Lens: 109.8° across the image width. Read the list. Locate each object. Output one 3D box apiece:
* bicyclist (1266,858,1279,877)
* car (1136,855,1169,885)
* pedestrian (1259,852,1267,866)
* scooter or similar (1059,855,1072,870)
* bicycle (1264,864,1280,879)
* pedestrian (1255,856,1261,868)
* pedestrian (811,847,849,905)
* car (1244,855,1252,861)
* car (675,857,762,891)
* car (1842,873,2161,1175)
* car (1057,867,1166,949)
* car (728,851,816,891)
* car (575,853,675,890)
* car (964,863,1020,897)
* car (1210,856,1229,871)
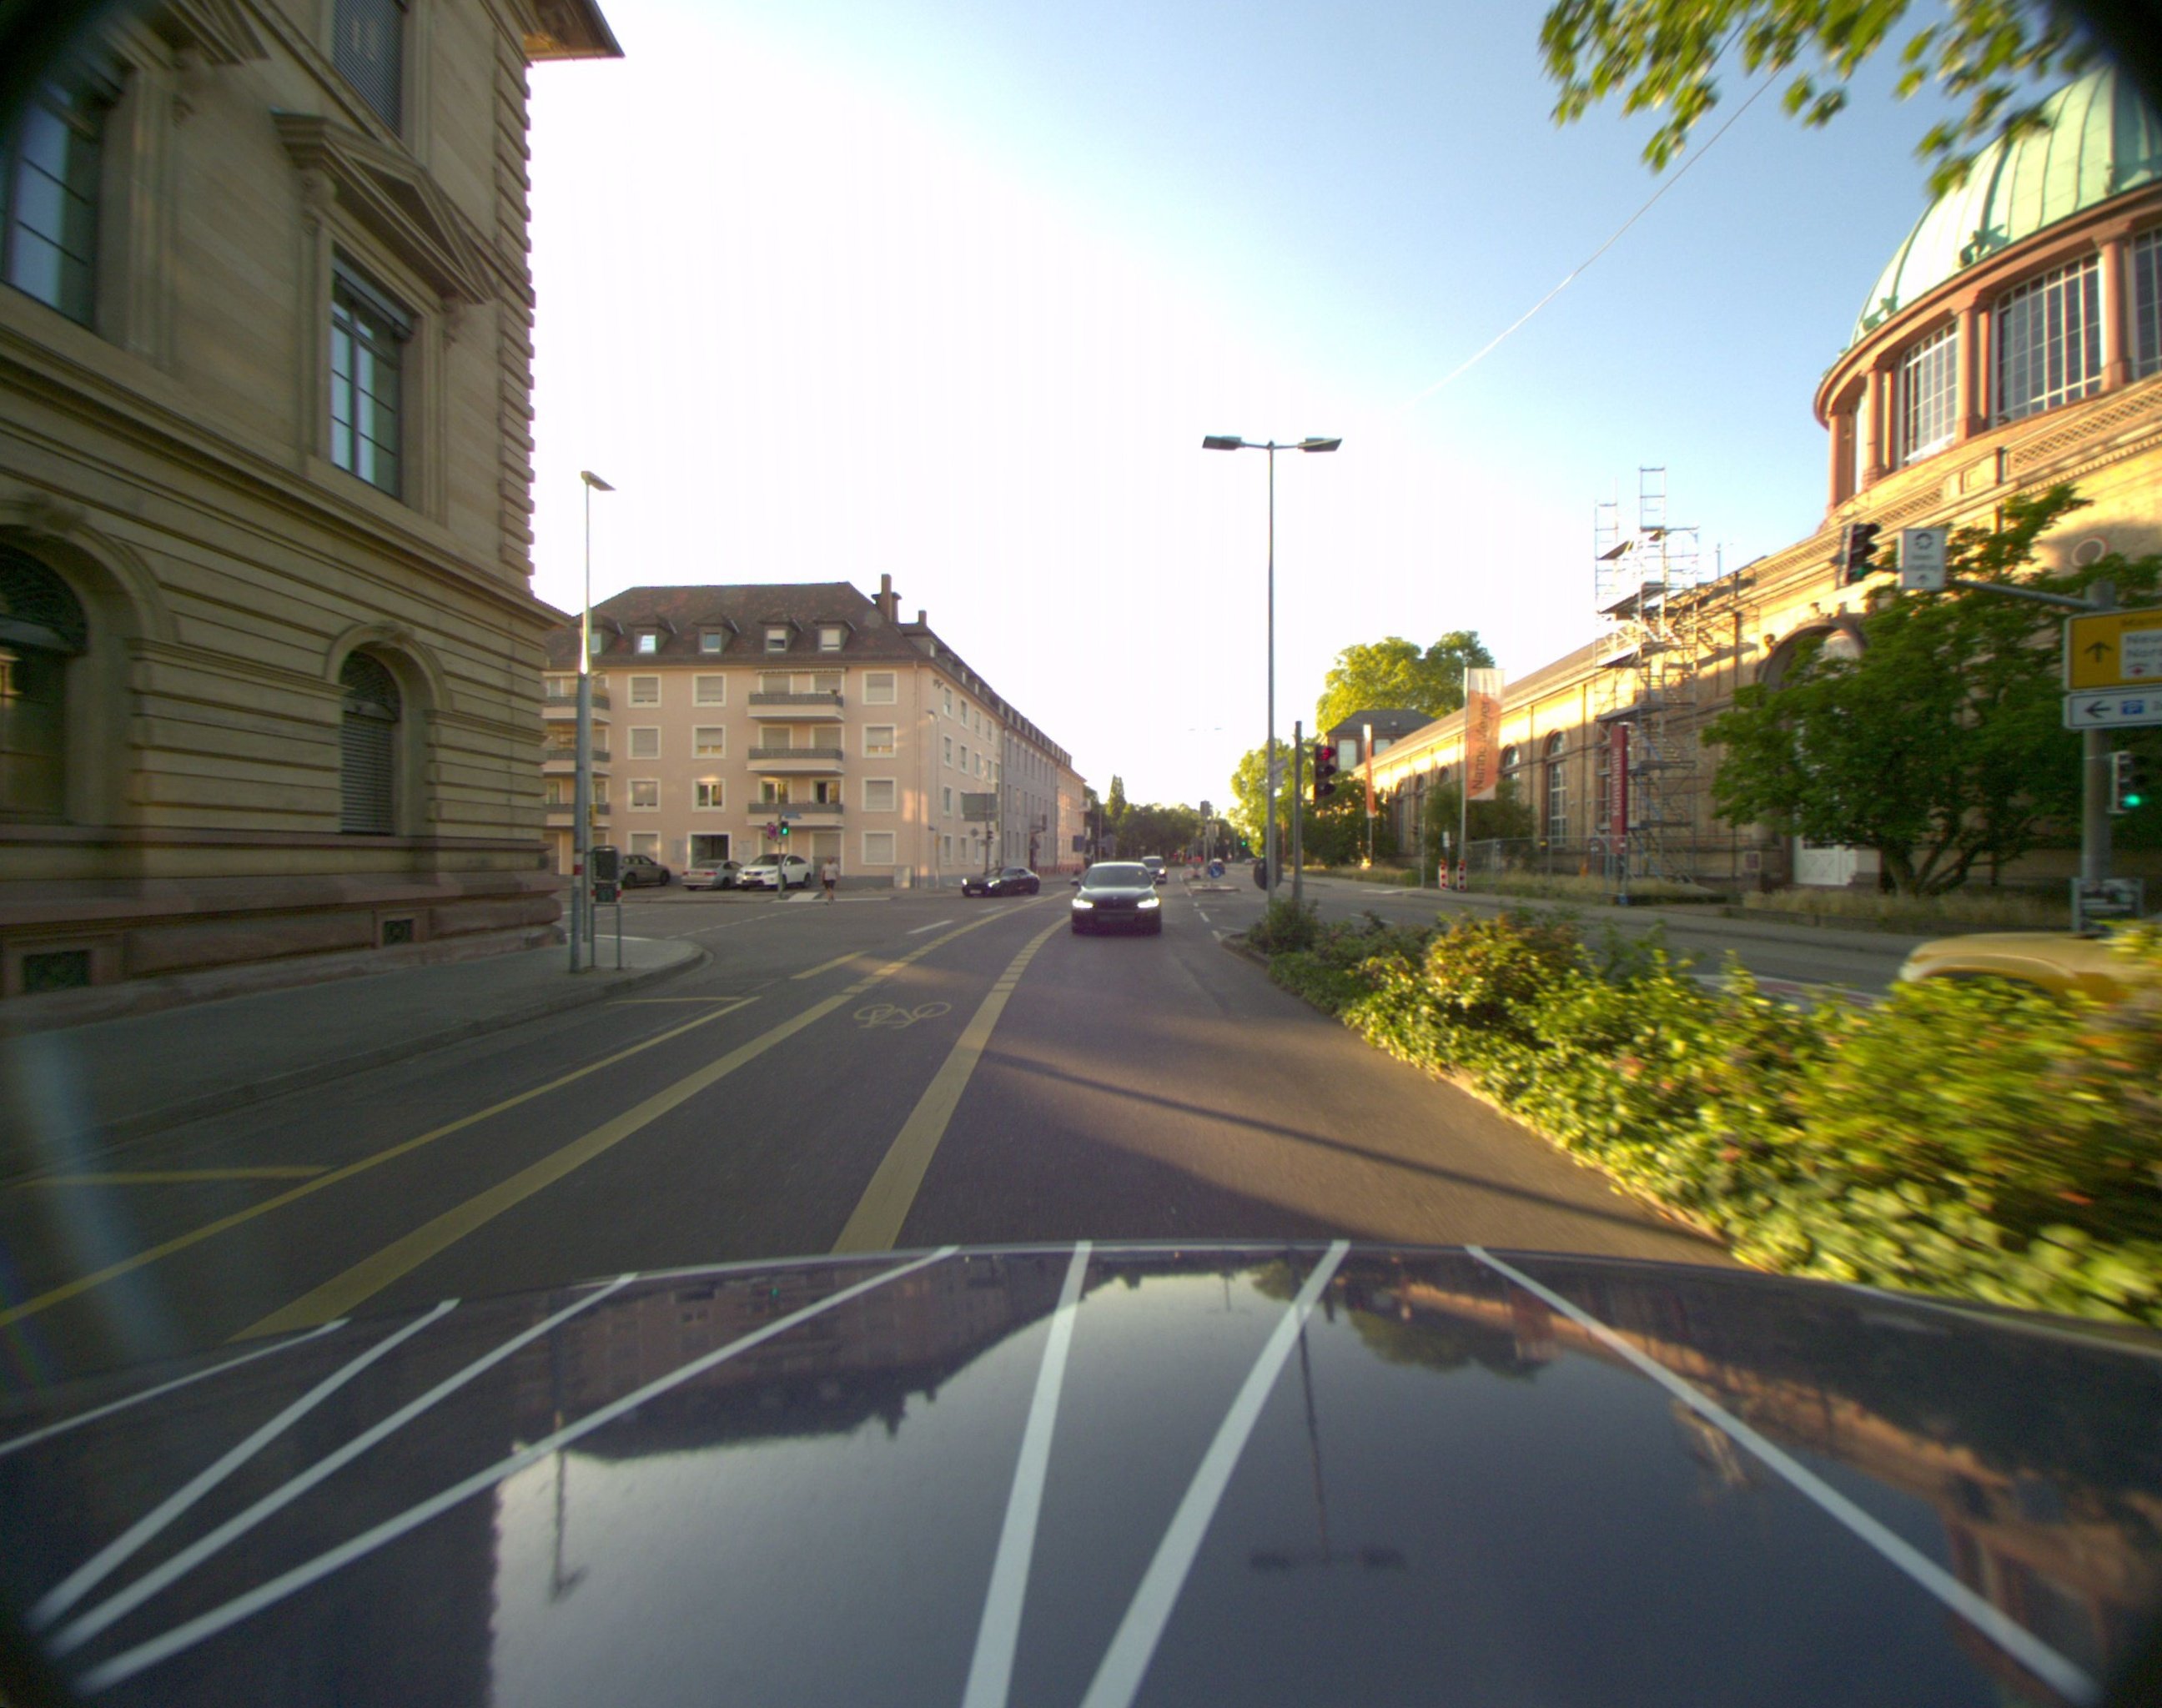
[{"bbox_3d":[15.232,1.057,60.495,0.749,1.452,0.937,2,0,1],"label":"bicyclist"},{"bbox_3d":[4.359,0.915,46.664,1.838,1.674,4.224,-2,0,3],"label":"car"},{"bbox_3d":[22.947,0.615,95.775,0.806,1.728,0.851,0,0,32],"label":"pedestrian"},{"bbox_3d":[-1.578,0.812,75.657,0.726,1.450,1.674,3,1,17],"label":"scooter or similar"},{"bbox_3d":[15.220,1.376,60.544,0.755,1.084,1.932,2,0,1],"label":"bicycle"},{"bbox_3d":[22.320,1.030,95.808,0.675,1.504,0.836,-4,-2,11],"label":"pedestrian"},{"bbox_3d":[-8.790,0.759,26.650,0.785,2.002,0.996,0,0,22],"label":"pedestrian"},{"bbox_3d":[43.277,1.006,196.460,1.918,1.674,4.005,0,0,14],"label":"car"},{"bbox_3d":[-16.713,0.875,35.298,1.923,1.504,4.029,0,0,4],"label":"car"},{"bbox_3d":[6.585,0.909,3.524,1.850,1.538,4.117,0,0,-3],"label":"car"},{"bbox_3d":[0.823,1.037,16.309,1.963,1.378,4.783,0,0,7],"label":"car"},{"bbox_3d":[-14.144,0.723,35.119,1.998,1.739,4.476,0,0,4],"label":"car"},{"bbox_3d":[-21.193,0.772,35.501,2.010,1.538,4.055,0,2,4],"label":"car"},{"bbox_3d":[-3.793,1.076,32.936,2.184,1.293,4.355,-2,0,-5],"label":"car"},{"bbox_3d":[14.570,0.994,80.111,1.826,1.499,4.430,0,0,8],"label":"car"}]
